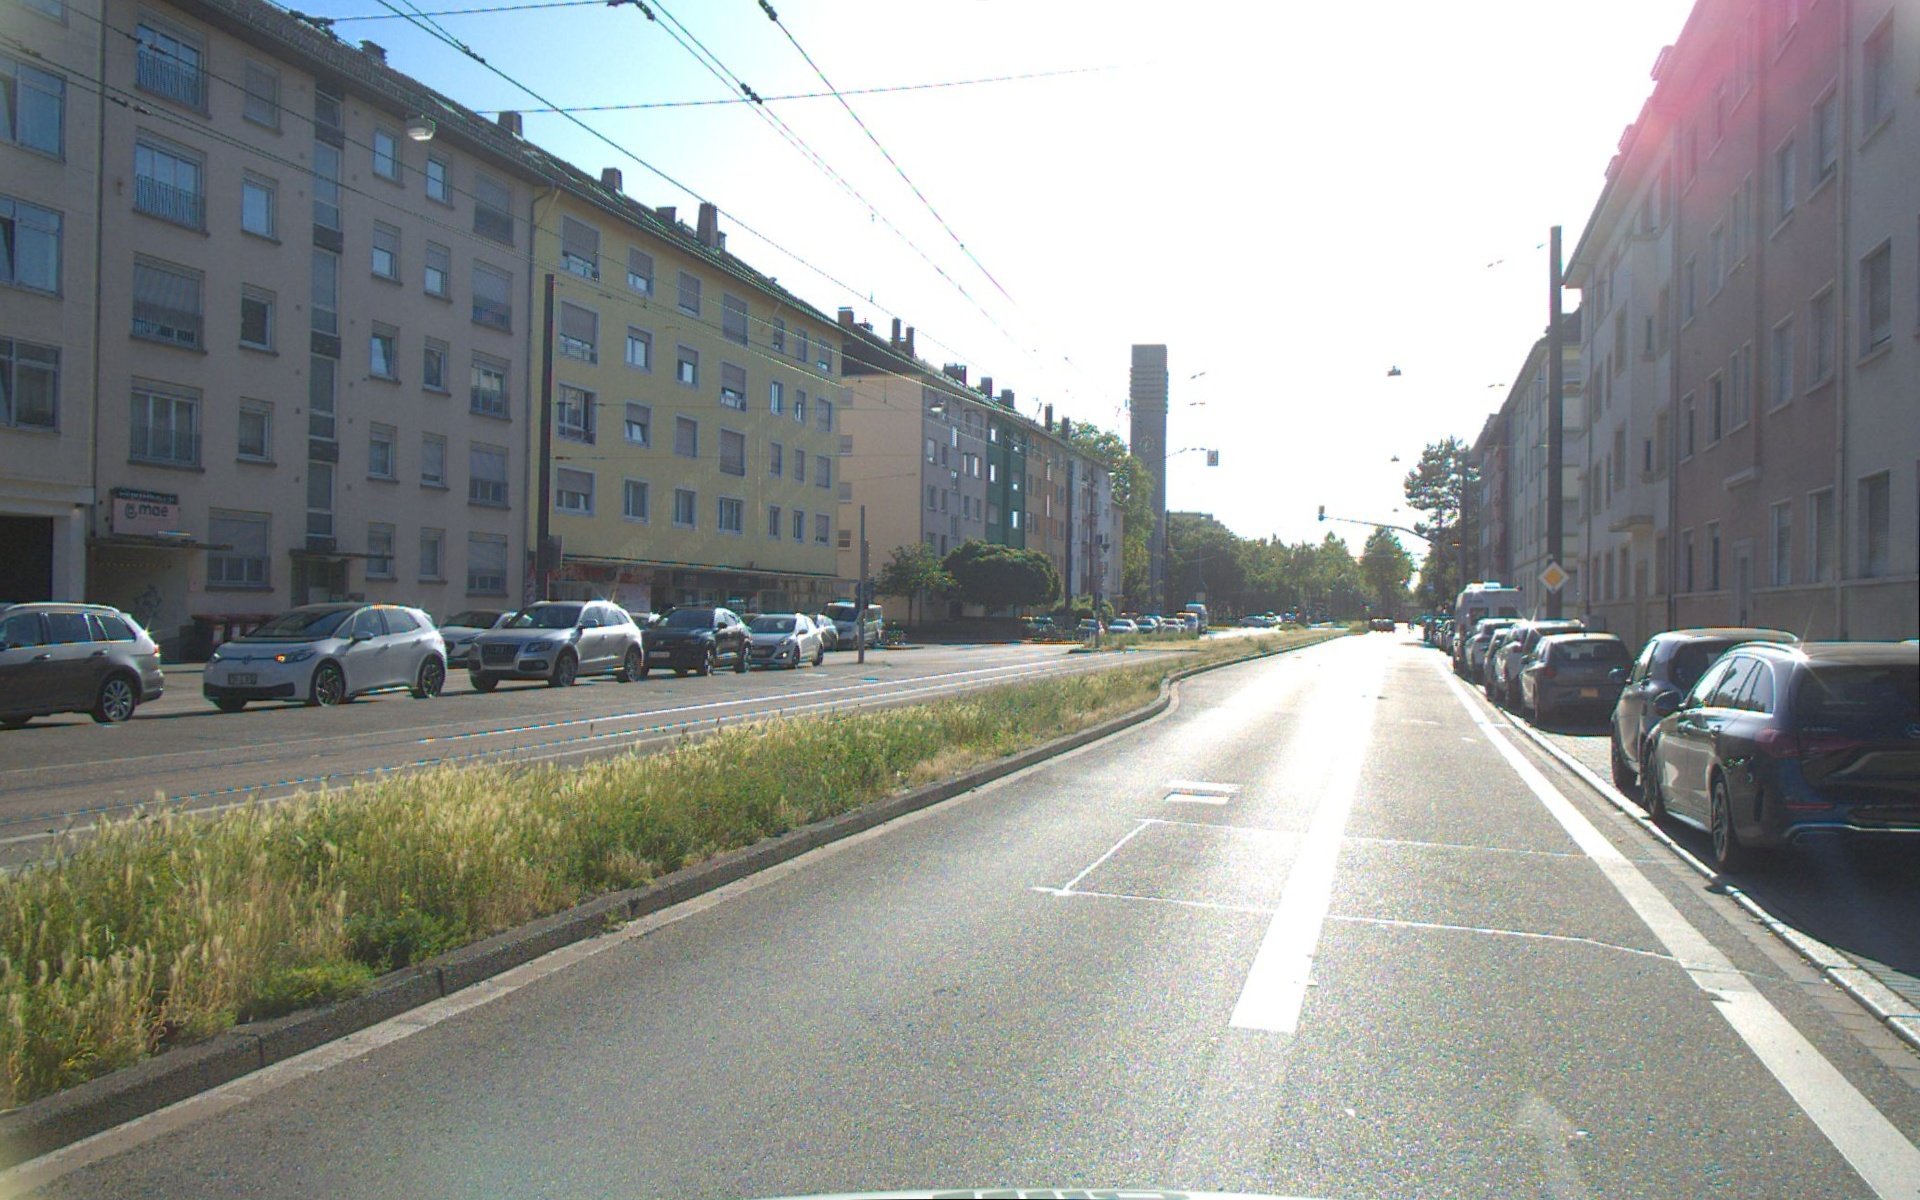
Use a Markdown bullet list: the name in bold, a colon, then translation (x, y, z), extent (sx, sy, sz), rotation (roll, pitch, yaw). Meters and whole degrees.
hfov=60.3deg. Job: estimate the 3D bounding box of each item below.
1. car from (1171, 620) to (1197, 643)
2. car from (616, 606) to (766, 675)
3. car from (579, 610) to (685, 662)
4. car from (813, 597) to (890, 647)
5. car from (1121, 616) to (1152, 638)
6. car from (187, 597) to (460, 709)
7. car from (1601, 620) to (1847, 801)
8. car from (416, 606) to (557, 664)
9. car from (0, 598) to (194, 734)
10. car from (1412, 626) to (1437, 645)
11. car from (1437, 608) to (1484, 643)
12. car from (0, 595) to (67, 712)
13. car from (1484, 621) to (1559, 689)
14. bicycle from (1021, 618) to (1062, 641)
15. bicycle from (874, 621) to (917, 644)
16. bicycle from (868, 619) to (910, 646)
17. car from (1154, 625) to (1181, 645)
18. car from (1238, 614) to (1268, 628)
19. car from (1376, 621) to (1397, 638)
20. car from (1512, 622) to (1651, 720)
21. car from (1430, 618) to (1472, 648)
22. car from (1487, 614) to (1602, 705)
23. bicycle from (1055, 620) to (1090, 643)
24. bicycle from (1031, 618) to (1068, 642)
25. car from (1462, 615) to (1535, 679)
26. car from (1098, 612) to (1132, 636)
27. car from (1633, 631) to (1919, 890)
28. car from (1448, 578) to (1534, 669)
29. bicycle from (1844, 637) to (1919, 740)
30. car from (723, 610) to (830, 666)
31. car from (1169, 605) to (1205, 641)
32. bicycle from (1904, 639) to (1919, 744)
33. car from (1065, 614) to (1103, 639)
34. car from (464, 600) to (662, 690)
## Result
- **car**: translation (21.176, 2.998, 156.134), extent (1.951, 1.999, 4.754), rotation (0, -3, 13)
- **car**: translation (-6.301, 0.961, 39.301), extent (1.921, 1.506, 4.572), rotation (0, -1, 13)
- **car**: translation (-10.489, 1.124, 53.132), extent (1.793, 1.609, 3.804), rotation (0, 0, 16)
- **car**: translation (-4.860, 0.998, 74.797), extent (1.961, 2.143, 5.309), rotation (0, -1, 13)
- **car**: translation (13.996, 2.172, 130.719), extent (1.951, 1.581, 4.002), rotation (0, -3, 13)
- **car**: translation (-9.576, 0.786, 25.280), extent (1.799, 1.542, 4.246), rotation (0, -1, 13)
- **car**: translation (7.176, 0.983, 15.792), extent (1.519, 1.553, 2.991), rotation (-1, -1, 13)
- **car**: translation (-12.666, 0.930, 44.506), extent (1.738, 1.460, 4.058), rotation (0, -1, 16)
- **car**: translation (-11.371, 0.750, 19.374), extent (1.779, 1.517, 4.543), rotation (0, -1, 16)
- **car**: translation (38.494, 2.942, 137.195), extent (1.856, 1.514, 3.742), rotation (0, -3, 14)
- **car**: translation (23.704, 1.240, 78.467), extent (1.856, 1.514, 3.742), rotation (0, -3, 13)
- **car**: translation (-14.354, 0.709, 21.994), extent (1.940, 1.603, 4.326), rotation (0, -1, 14)
- **car**: translation (12.801, 1.230, 37.836), extent (1.470, 1.451, 3.455), rotation (-2, -1, 17)
- **bicycle**: translation (4.837, 1.749, 98.124), extent (2.259, 1.328, 0.914), rotation (0, -3, 12)
- **bicycle**: translation (-3.167, 1.591, 80.915), extent (2.031, 1.040, 0.804), rotation (1, -3, 2)
- **bicycle**: translation (-3.387, 1.568, 79.071), extent (1.929, 1.227, 0.695), rotation (2, -3, -12)
- **car**: translation (18.177, 3.068, 144.858), extent (1.951, 1.581, 4.002), rotation (0, -3, 13)
- **car**: translation (39.229, 2.808, 221.299), extent (3.902, 1.714, 2.001), rotation (1, -3, 9)
- **car**: translation (49.835, 3.477, 193.220), extent (1.951, 1.814, 4.002), rotation (1, -2, 8)
- **car**: translation (10.543, 1.160, 28.323), extent (1.735, 1.497, 4.097), rotation (-2, -1, 14)
- **car**: translation (26.313, 1.784, 88.705), extent (1.856, 1.514, 3.742), rotation (0, -3, 13)
- **car**: translation (11.644, 1.141, 33.190), extent (1.626, 1.673, 4.188), rotation (-2, -1, 12)
- **bicycle**: translation (6.985, 1.959, 102.428), extent (2.084, 1.348, 0.896), rotation (1, -3, -2)
- **bicycle**: translation (5.417, 1.818, 100.067), extent (2.082, 1.348, 0.897), rotation (1, -3, 9)
- **car**: translation (14.852, 1.257, 45.730), extent (1.556, 1.663, 3.921), rotation (-2, -1, 13)
- **car**: translation (11.305, 1.775, 120.759), extent (1.951, 1.609, 4.002), rotation (0, -3, 13)
- **car**: translation (6.127, 0.968, 11.711), extent (1.843, 1.422, 4.745), rotation (-2, -1, 14)
- **car**: translation (16.806, 0.731, 52.595), extent (2.112, 2.698, 5.647), rotation (-2, -1, 13)
- **bicycle**: translation (11.869, 1.107, 21.104), extent (0.616, 1.213, 1.883), rotation (-1, -1, 16)
- **car**: translation (-5.028, 1.051, 45.921), extent (1.784, 1.471, 4.288), rotation (0, -1, 10)
- **car**: translation (22.637, 2.342, 164.890), extent (2.922, 3.295, 6.797), rotation (0, -3, 13)
- **bicycle**: translation (11.468, 1.080, 19.215), extent (0.503, 1.213, 1.558), rotation (0, 0, 16)
- **car**: translation (8.139, 1.725, 108.310), extent (1.951, 1.479, 4.002), rotation (0, -3, 13)
- **car**: translation (-7.629, 0.834, 32.280), extent (1.825, 1.605, 4.634), rotation (-1, -1, 14)
